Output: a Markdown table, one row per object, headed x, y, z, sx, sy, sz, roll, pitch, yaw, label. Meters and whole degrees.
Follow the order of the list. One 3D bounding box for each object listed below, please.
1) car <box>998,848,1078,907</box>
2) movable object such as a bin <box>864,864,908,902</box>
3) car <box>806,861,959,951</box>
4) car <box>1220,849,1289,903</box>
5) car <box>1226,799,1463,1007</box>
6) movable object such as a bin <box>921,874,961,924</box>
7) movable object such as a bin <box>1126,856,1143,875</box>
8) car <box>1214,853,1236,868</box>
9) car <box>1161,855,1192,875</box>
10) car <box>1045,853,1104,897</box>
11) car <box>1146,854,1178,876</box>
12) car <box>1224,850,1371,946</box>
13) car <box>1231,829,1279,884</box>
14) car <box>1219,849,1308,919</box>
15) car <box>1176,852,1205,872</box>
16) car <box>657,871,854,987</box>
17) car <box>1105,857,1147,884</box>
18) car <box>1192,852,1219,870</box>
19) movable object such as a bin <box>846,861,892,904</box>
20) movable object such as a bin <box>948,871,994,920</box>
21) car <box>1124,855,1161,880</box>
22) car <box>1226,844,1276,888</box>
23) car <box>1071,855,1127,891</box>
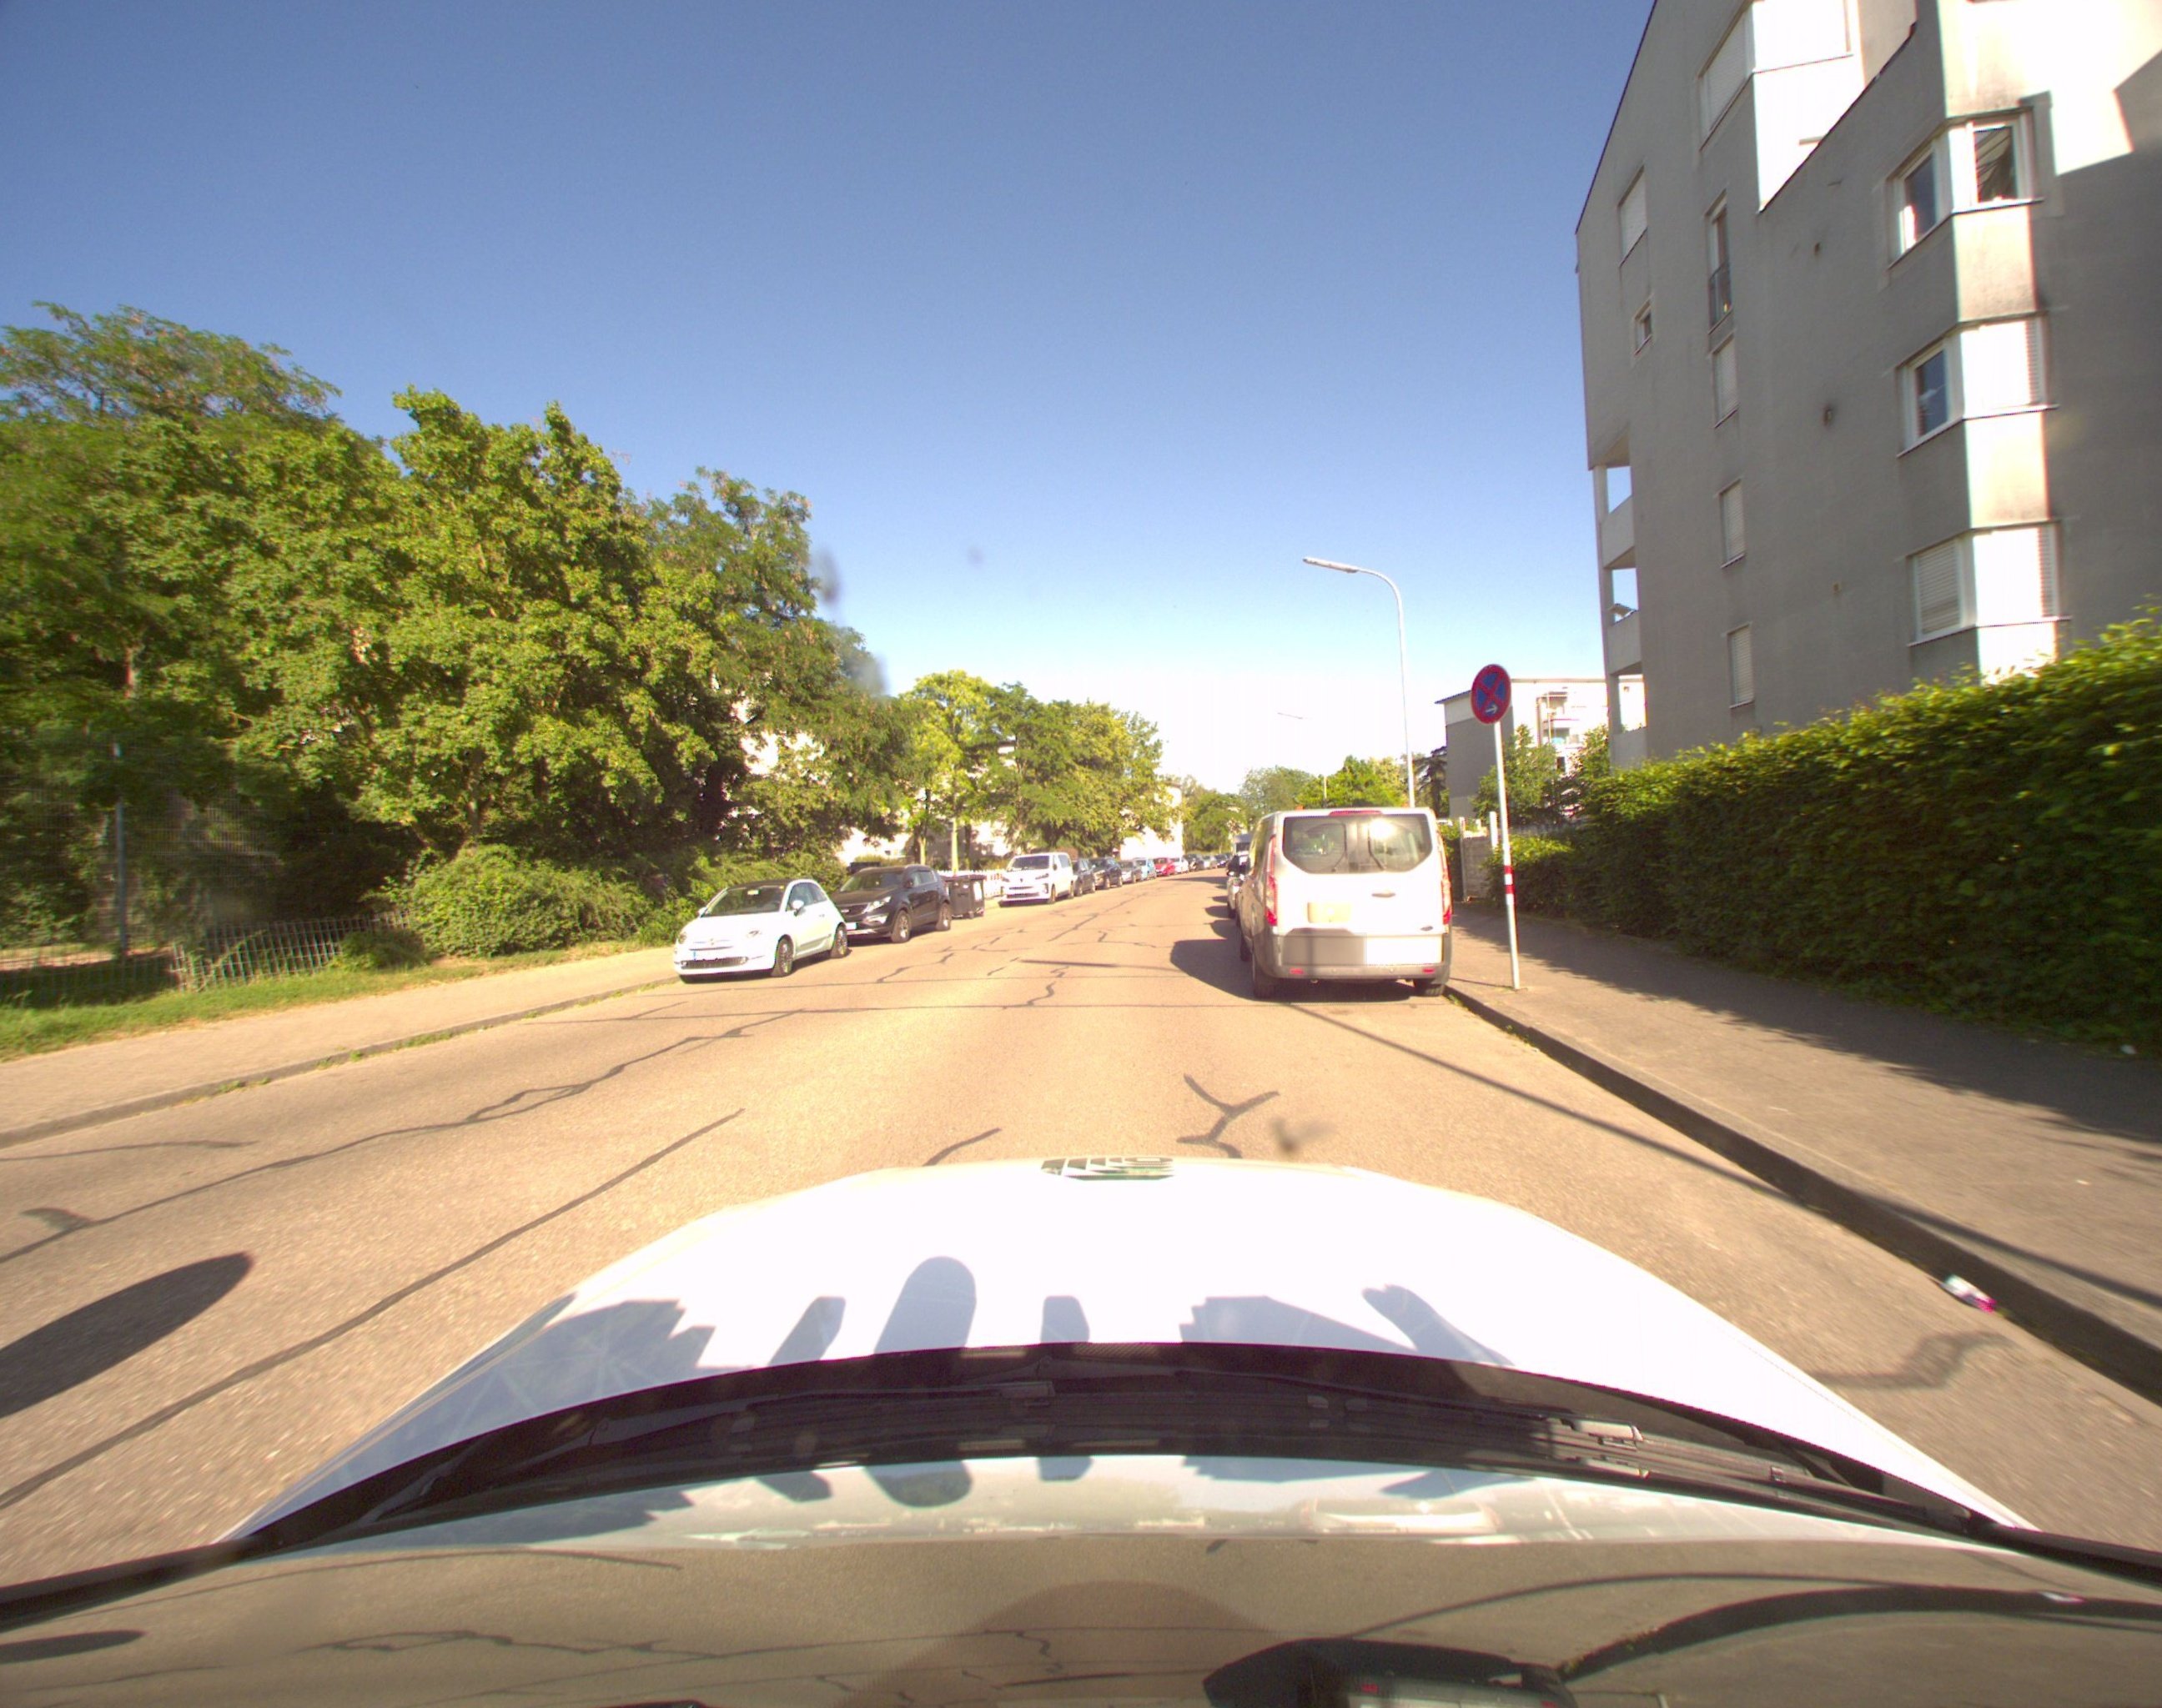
| x | y | z | sx | sy | sz | roll | pitch | yaw | label |
| --- | --- | --- | --- | --- | --- | --- | --- | --- | --- |
| -1.540 | 0.820 | 30.965 | 1.851 | 1.961 | 4.685 | -3 | 0 | 11 | car |
| -7.825 | 1.155 | 32.810 | 1.268 | 1.401 | 1.265 | -3 | -1 | 9 | movable object such as a bin |
| -4.292 | 1.066 | 18.369 | 1.664 | 1.638 | 4.262 | -4 | -1 | 10 | car |
| 5.426 | 0.650 | 25.855 | 1.898 | 1.488 | 4.387 | -3 | -1 | 10 | car |
| 2.909 | 0.490 | 10.155 | 1.982 | 1.912 | 4.965 | -2 | -1 | 9 | car |
| -3.971 | 1.255 | 23.129 | 0.604 | 1.340 | 1.274 | -3 | -1 | 14 | movable object such as a bin |
| 4.365 | 0.953 | 66.449 | 1.102 | 1.498 | 1.414 | -3 | 0 | 15 | movable object such as a bin |
| 14.820 | 0.649 | 83.696 | 1.647 | 1.426 | 4.067 | -5 | -1 | 17 | car |
| 7.801 | 0.857 | 66.181 | 1.657 | 1.421 | 3.920 | -4 | -1 | 19 | car |
| -0.230 | 0.893 | 36.288 | 1.545 | 1.722 | 4.356 | -3 | 0 | 13 | car |
| 6.069 | 0.824 | 60.727 | 1.657 | 1.474 | 3.694 | -4 | -1 | 16 | car |
| 3.828 | 0.714 | 15.291 | 1.983 | 1.417 | 4.934 | -3 | -1 | 7 | car |
| 8.703 | 0.119 | 40.475 | 2.090 | 2.486 | 5.877 | -1 | 0 | 13 | car |
| 4.497 | 0.690 | 20.497 | 1.898 | 1.488 | 4.387 | -3 | -1 | 10 | car |
| 9.830 | 0.685 | 72.748 | 1.657 | 1.666 | 4.427 | -4 | -1 | 19 | car |
| -5.212 | 1.127 | 13.527 | 1.619 | 1.527 | 3.423 | -3 | 0 | 4 | car |
| 2.748 | 0.988 | 49.255 | 1.658 | 1.437 | 4.016 | -4 | -1 | 14 | car |
| 12.091 | 0.645 | 78.693 | 1.646 | 1.486 | 4.073 | -5 | -1 | 20 | car |
| -8.046 | 1.070 | 30.950 | 1.252 | 1.551 | 1.282 | -3 | -1 | 5 | movable object such as a bin |
| -3.260 | 1.223 | 24.252 | 0.797 | 1.315 | 1.327 | -3 | 0 | 16 | movable object such as a bin |
| 4.141 | 0.904 | 54.451 | 1.657 | 1.474 | 3.694 | -4 | -1 | 16 | car |
| 7.332 | 0.498 | 35.390 | 1.898 | 1.666 | 4.387 | -3 | -1 | 10 | car |
| 1.000 | 0.933 | 41.877 | 1.735 | 1.617 | 4.381 | -3 | 0 | 16 | car |
